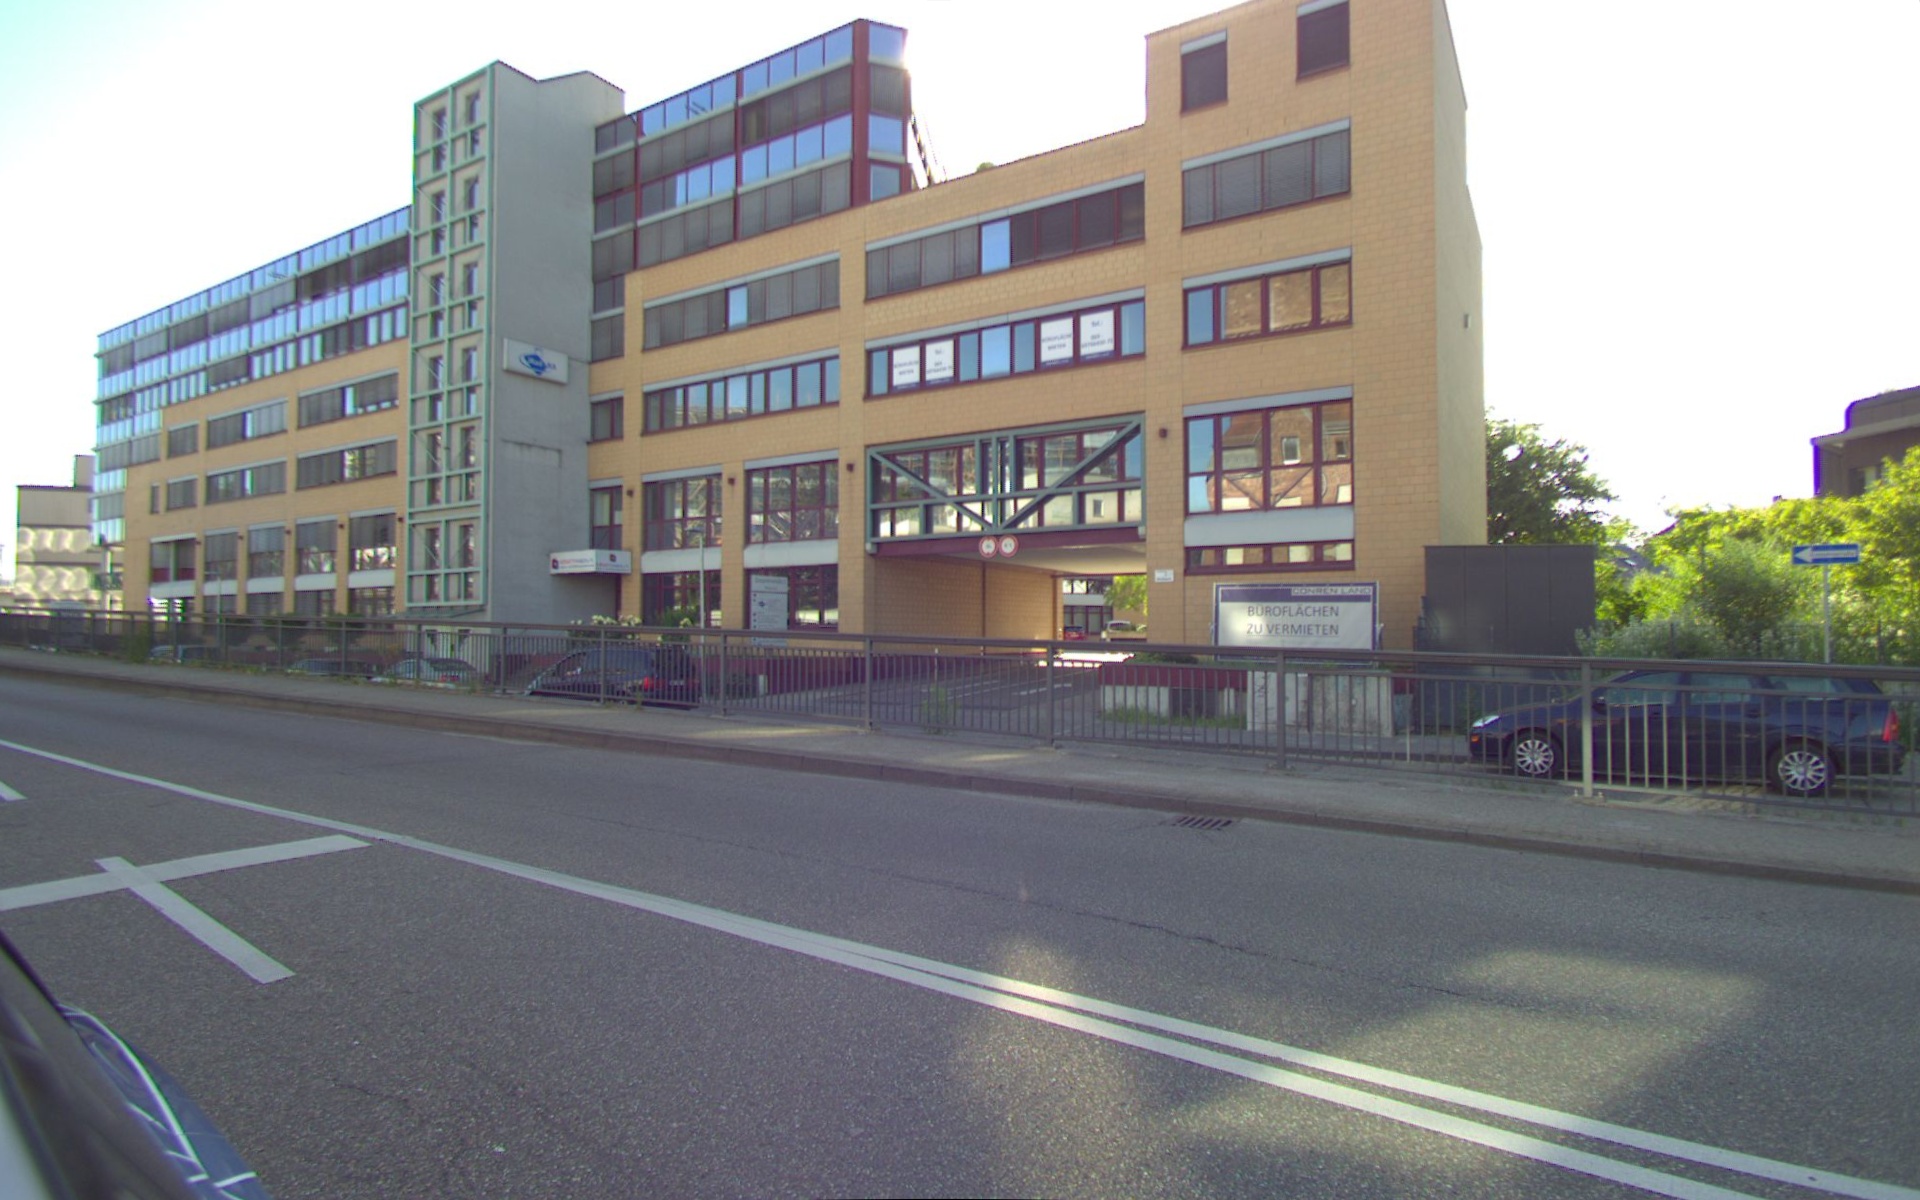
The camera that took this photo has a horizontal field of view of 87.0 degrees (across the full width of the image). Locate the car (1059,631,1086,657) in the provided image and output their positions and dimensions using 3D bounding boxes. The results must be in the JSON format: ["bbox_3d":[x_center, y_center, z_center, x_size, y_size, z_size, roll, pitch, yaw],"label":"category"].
[{"bbox_3d":[7.165,2.812,64.614,1.622,1.586,3.148,-1,-3,4],"label":"car"}]

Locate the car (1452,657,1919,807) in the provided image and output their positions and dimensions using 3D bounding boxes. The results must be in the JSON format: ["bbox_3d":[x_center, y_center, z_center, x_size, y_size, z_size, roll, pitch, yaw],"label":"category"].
[{"bbox_3d":[8.691,1.482,12.525,4.441,1.515,1.804,-2,-3,35],"label":"car"}]

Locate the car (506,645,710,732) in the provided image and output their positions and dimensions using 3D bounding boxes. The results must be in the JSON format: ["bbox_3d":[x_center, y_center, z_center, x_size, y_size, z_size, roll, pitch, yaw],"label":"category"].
[{"bbox_3d":[-8.168,1.964,23.366,4.671,1.771,1.936,-1,-2,31],"label":"car"}]

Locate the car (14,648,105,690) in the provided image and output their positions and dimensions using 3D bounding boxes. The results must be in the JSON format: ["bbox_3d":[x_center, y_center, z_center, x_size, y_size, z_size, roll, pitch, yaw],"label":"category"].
[{"bbox_3d":[-37.877,2.857,42.569,3.991,1.674,1.976,-2,-3,35],"label":"car"}]

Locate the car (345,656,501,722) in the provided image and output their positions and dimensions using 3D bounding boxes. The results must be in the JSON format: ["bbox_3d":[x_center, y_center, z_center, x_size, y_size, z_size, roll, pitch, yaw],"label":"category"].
[{"bbox_3d":[-14.621,2.353,27.514,4.343,1.616,1.806,-1,-3,32],"label":"car"}]

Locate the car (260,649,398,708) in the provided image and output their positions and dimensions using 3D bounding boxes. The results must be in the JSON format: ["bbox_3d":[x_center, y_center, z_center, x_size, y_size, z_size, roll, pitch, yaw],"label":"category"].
[{"bbox_3d":[-19.062,2.306,30.522,4.343,1.616,1.806,-1,-3,32],"label":"car"}]
